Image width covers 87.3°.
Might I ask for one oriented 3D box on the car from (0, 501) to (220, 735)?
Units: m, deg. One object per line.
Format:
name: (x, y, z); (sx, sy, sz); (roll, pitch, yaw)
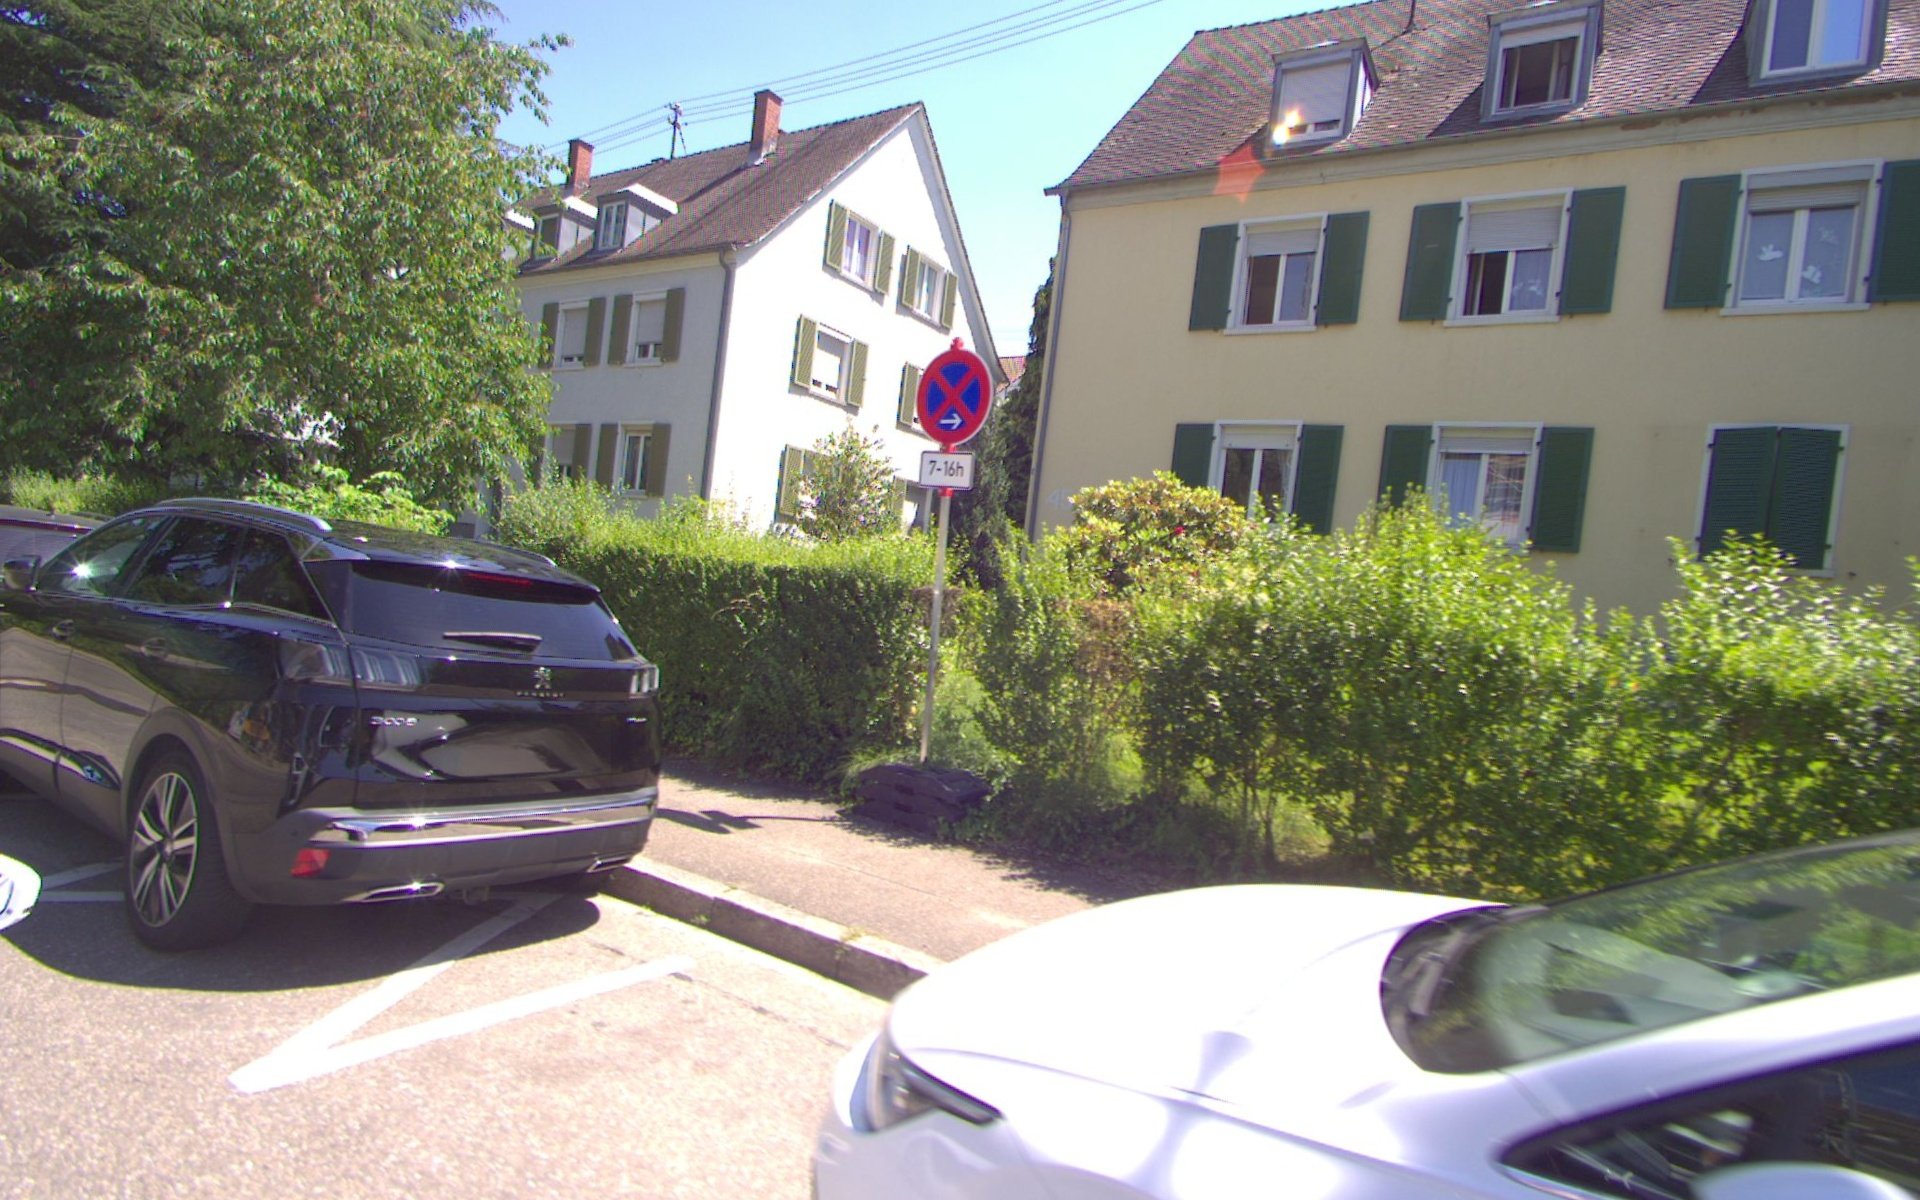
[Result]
car: (-7.622, -0.045, 7.725); (4.135, 1.449, 1.664); (7, -1, 33)

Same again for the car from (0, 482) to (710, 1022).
car: (-3.336, 0.391, 4.866); (4.137, 1.556, 1.664); (6, -2, 34)

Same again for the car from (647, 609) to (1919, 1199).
car: (1.615, 1.019, 1.403); (4.061, 1.451, 1.665); (6, -3, 33)
